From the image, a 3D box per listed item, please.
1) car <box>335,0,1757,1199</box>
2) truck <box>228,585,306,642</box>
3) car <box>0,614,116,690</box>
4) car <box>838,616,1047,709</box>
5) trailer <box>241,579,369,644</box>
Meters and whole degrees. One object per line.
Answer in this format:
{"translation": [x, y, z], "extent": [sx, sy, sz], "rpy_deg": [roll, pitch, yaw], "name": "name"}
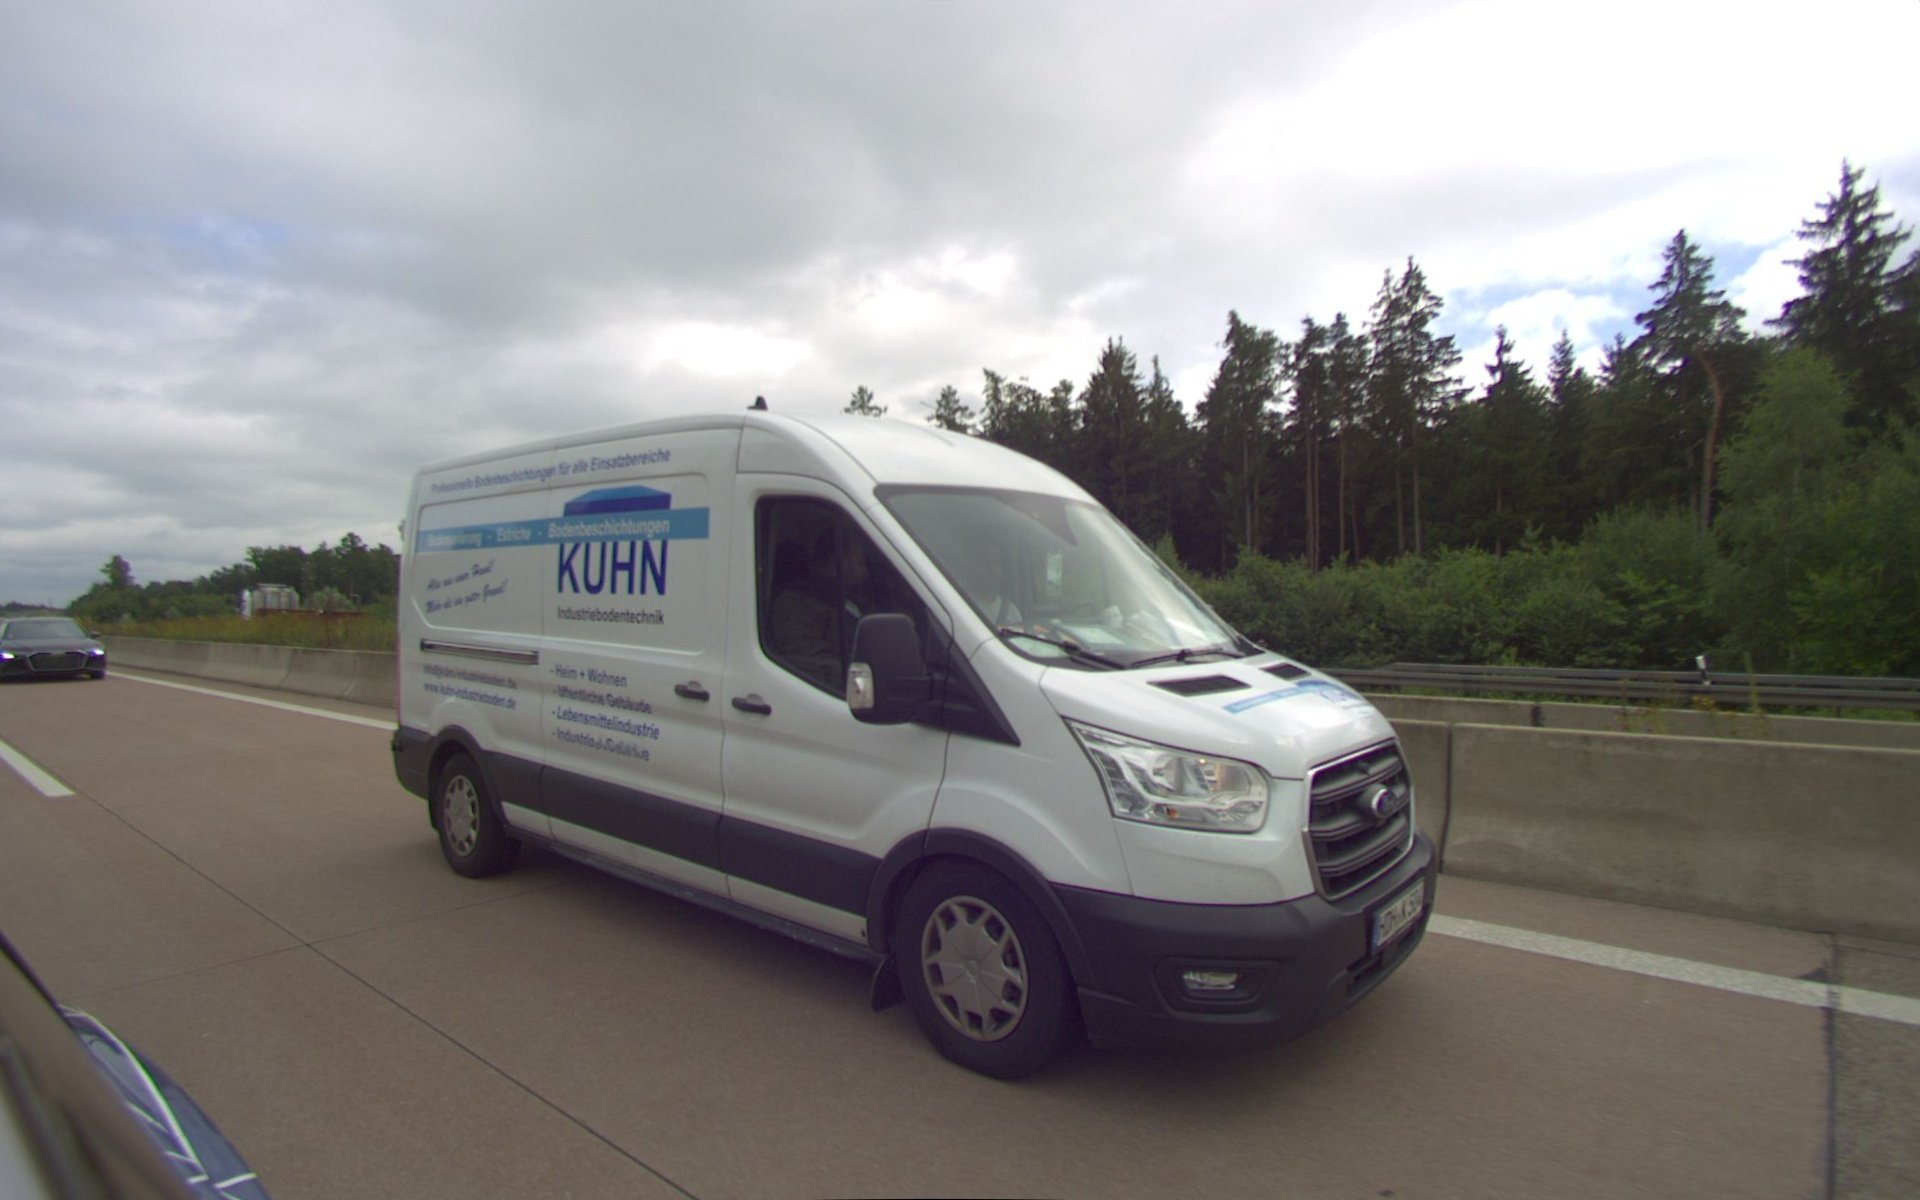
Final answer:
{"translation": [-0.651, 0.206, 5.014], "extent": [7.127, 2.526, 2.116], "rpy_deg": [-1, -1, 41], "name": "car"}
{"translation": [-44.122, 0.843, 64.412], "extent": [5.342, 3.445, 2.903], "rpy_deg": [-1, 0, 42], "name": "truck"}
{"translation": [-21.687, 1.142, 23.830], "extent": [5.673, 1.562, 2.063], "rpy_deg": [-1, 0, 43], "name": "car"}
{"translation": [-0.545, 1.506, 26.089], "extent": [5.269, 2.028, 2.230], "rpy_deg": [-1, 1, 43], "name": "car"}
{"translation": [-38.788, 0.720, 59.634], "extent": [13.266, 3.445, 2.903], "rpy_deg": [-1, 0, 42], "name": "trailer"}
